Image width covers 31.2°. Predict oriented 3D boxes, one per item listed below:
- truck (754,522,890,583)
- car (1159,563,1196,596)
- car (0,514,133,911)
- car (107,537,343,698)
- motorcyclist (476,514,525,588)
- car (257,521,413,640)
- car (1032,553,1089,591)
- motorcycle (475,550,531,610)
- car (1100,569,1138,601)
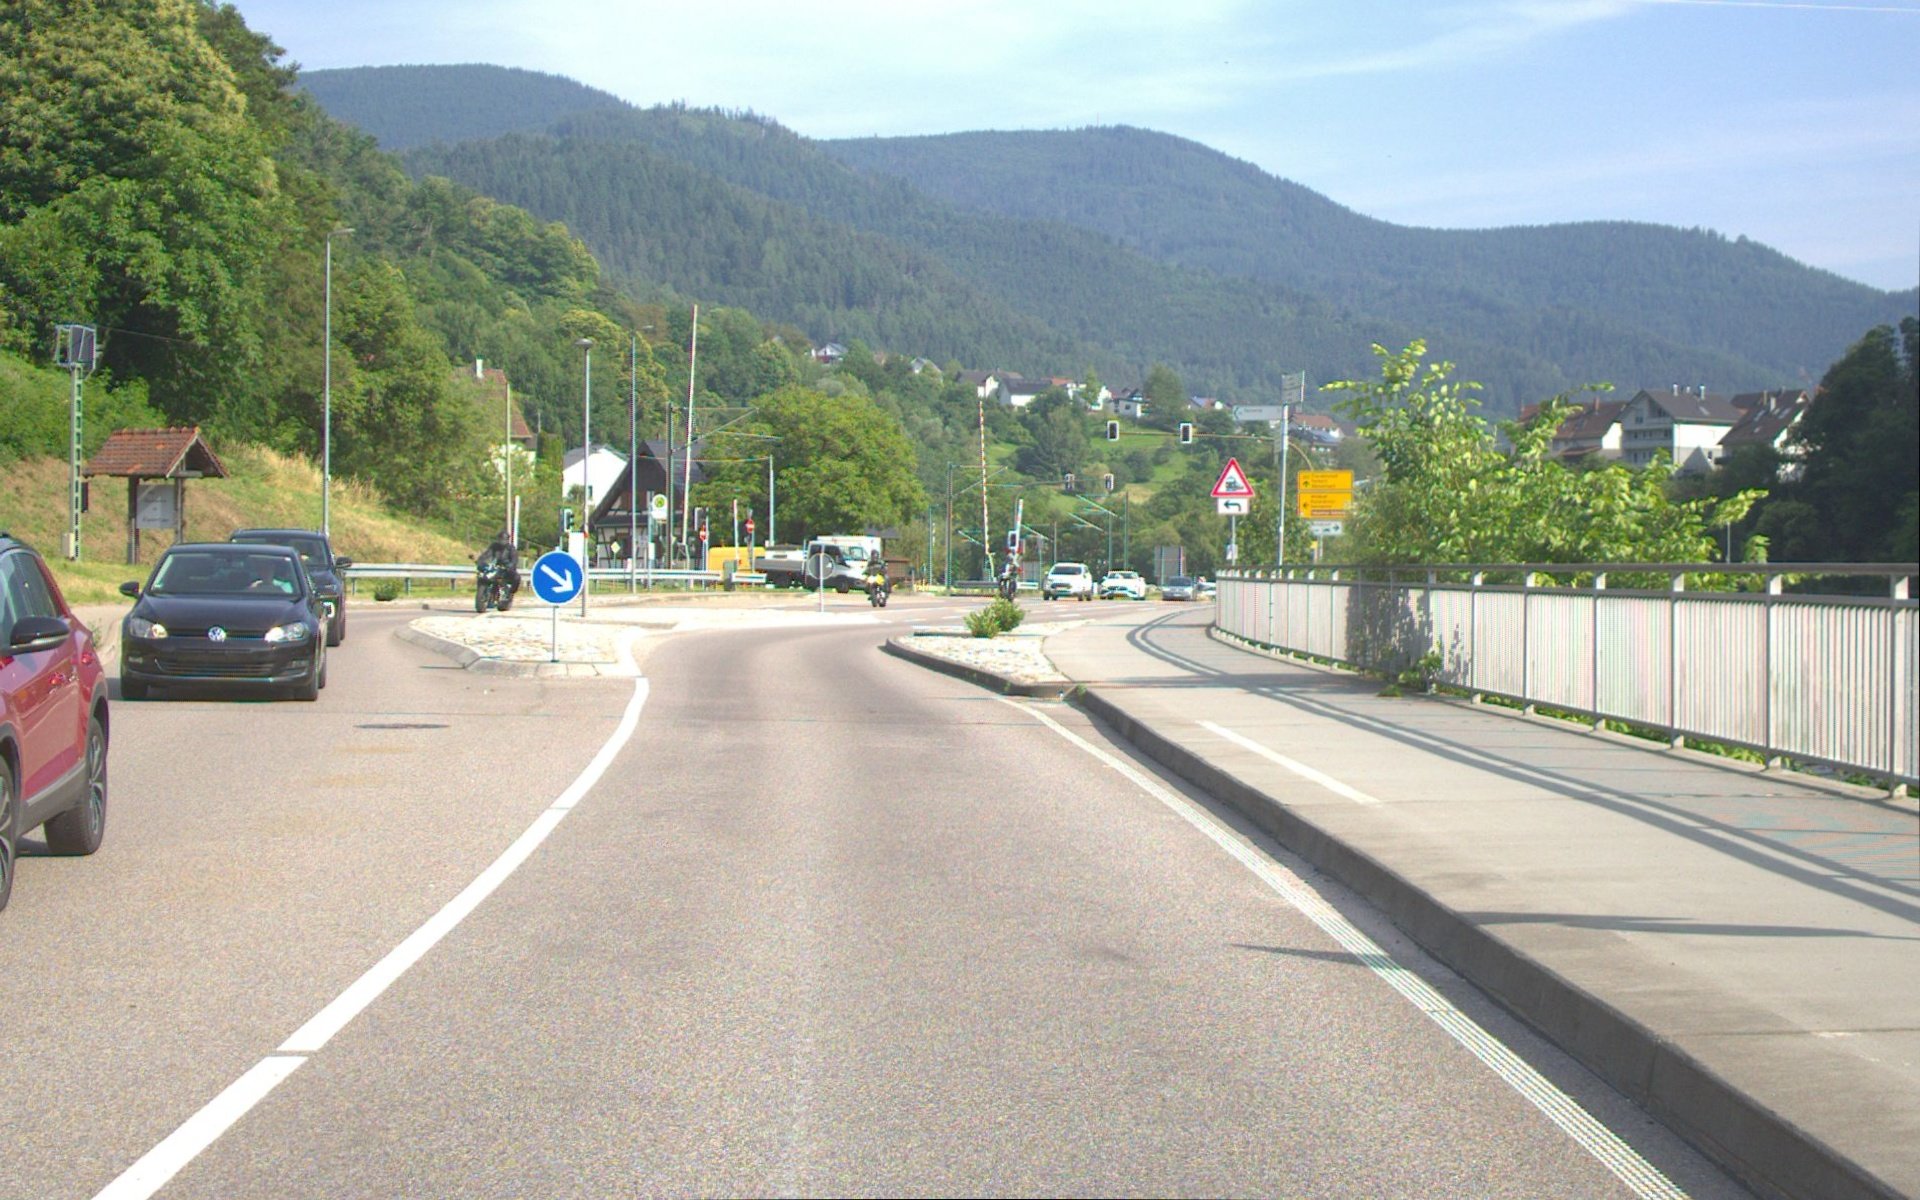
[{"bbox_3d":[-5.854,-2.033,145.459,5.999,2.258,1.995,4,2,43],"label":"truck"},{"bbox_3d":[12.702,-1.179,200.320,1.759,1.516,4.201,1,-5,9],"label":"car"},{"bbox_3d":[-4.795,0.448,14.864,1.705,1.578,4.159,-2,1,-5],"label":"car"},{"bbox_3d":[-6.883,0.121,32.551,1.774,1.403,4.273,0,1,-6],"label":"car"},{"bbox_3d":[-9.512,-1.011,71.112,0.905,1.513,0.847,1,1,-13],"label":"motorcyclist"},{"bbox_3d":[-8.370,-0.298,46.311,1.774,1.511,4.273,1,1,-6],"label":"car"},{"bbox_3d":[4.398,-1.226,150.002,1.765,1.555,3.997,0,-1,13],"label":"car"},{"bbox_3d":[-9.397,-0.422,70.586,0.894,1.179,2.306,1,1,-13],"label":"motorcycle"},{"bbox_3d":[7.695,-0.725,166.716,1.782,1.395,4.827,2,1,2],"label":"car"}]
